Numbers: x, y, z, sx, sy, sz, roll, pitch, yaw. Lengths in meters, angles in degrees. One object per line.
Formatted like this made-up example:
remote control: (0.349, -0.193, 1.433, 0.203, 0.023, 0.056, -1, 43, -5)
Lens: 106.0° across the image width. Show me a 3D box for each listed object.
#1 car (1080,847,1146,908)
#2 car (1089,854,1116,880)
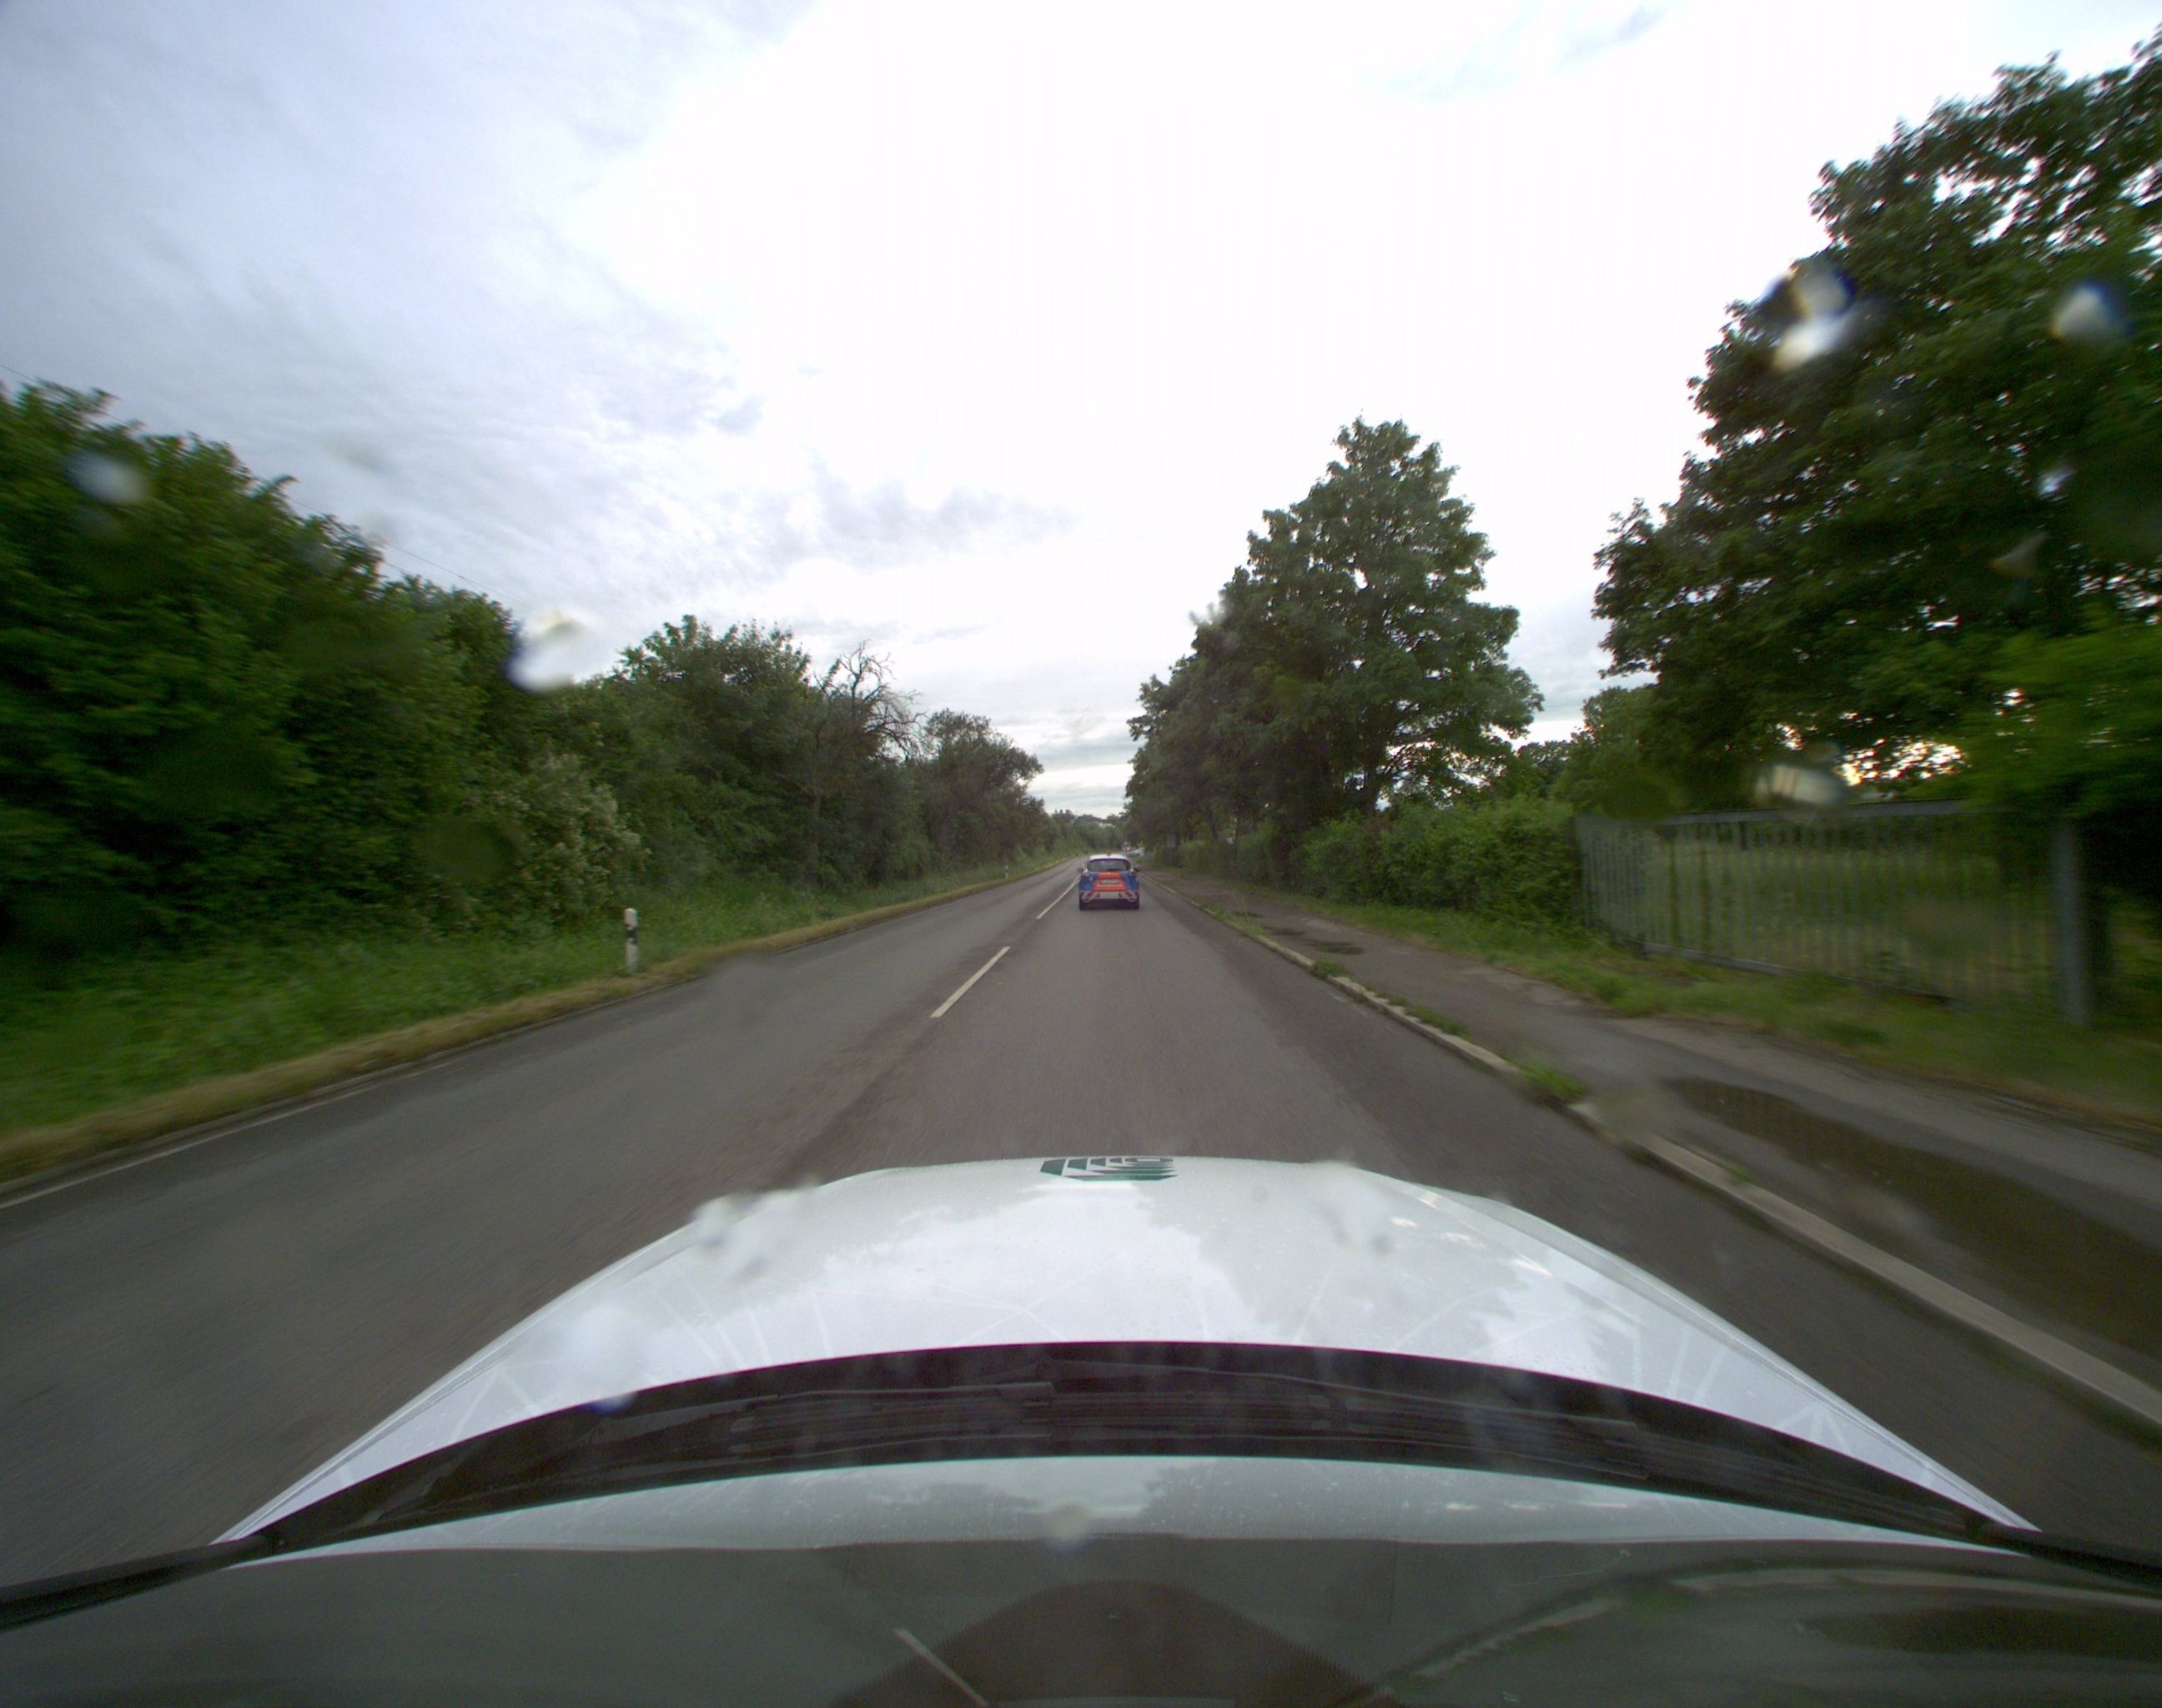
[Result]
car: (0.921, 0.641, 24.280, 1.799, 1.668, 3.857, 0, 0, 1)
car: (1.345, 0.823, 52.616, 1.688, 1.595, 3.856, 0, 0, 0)
